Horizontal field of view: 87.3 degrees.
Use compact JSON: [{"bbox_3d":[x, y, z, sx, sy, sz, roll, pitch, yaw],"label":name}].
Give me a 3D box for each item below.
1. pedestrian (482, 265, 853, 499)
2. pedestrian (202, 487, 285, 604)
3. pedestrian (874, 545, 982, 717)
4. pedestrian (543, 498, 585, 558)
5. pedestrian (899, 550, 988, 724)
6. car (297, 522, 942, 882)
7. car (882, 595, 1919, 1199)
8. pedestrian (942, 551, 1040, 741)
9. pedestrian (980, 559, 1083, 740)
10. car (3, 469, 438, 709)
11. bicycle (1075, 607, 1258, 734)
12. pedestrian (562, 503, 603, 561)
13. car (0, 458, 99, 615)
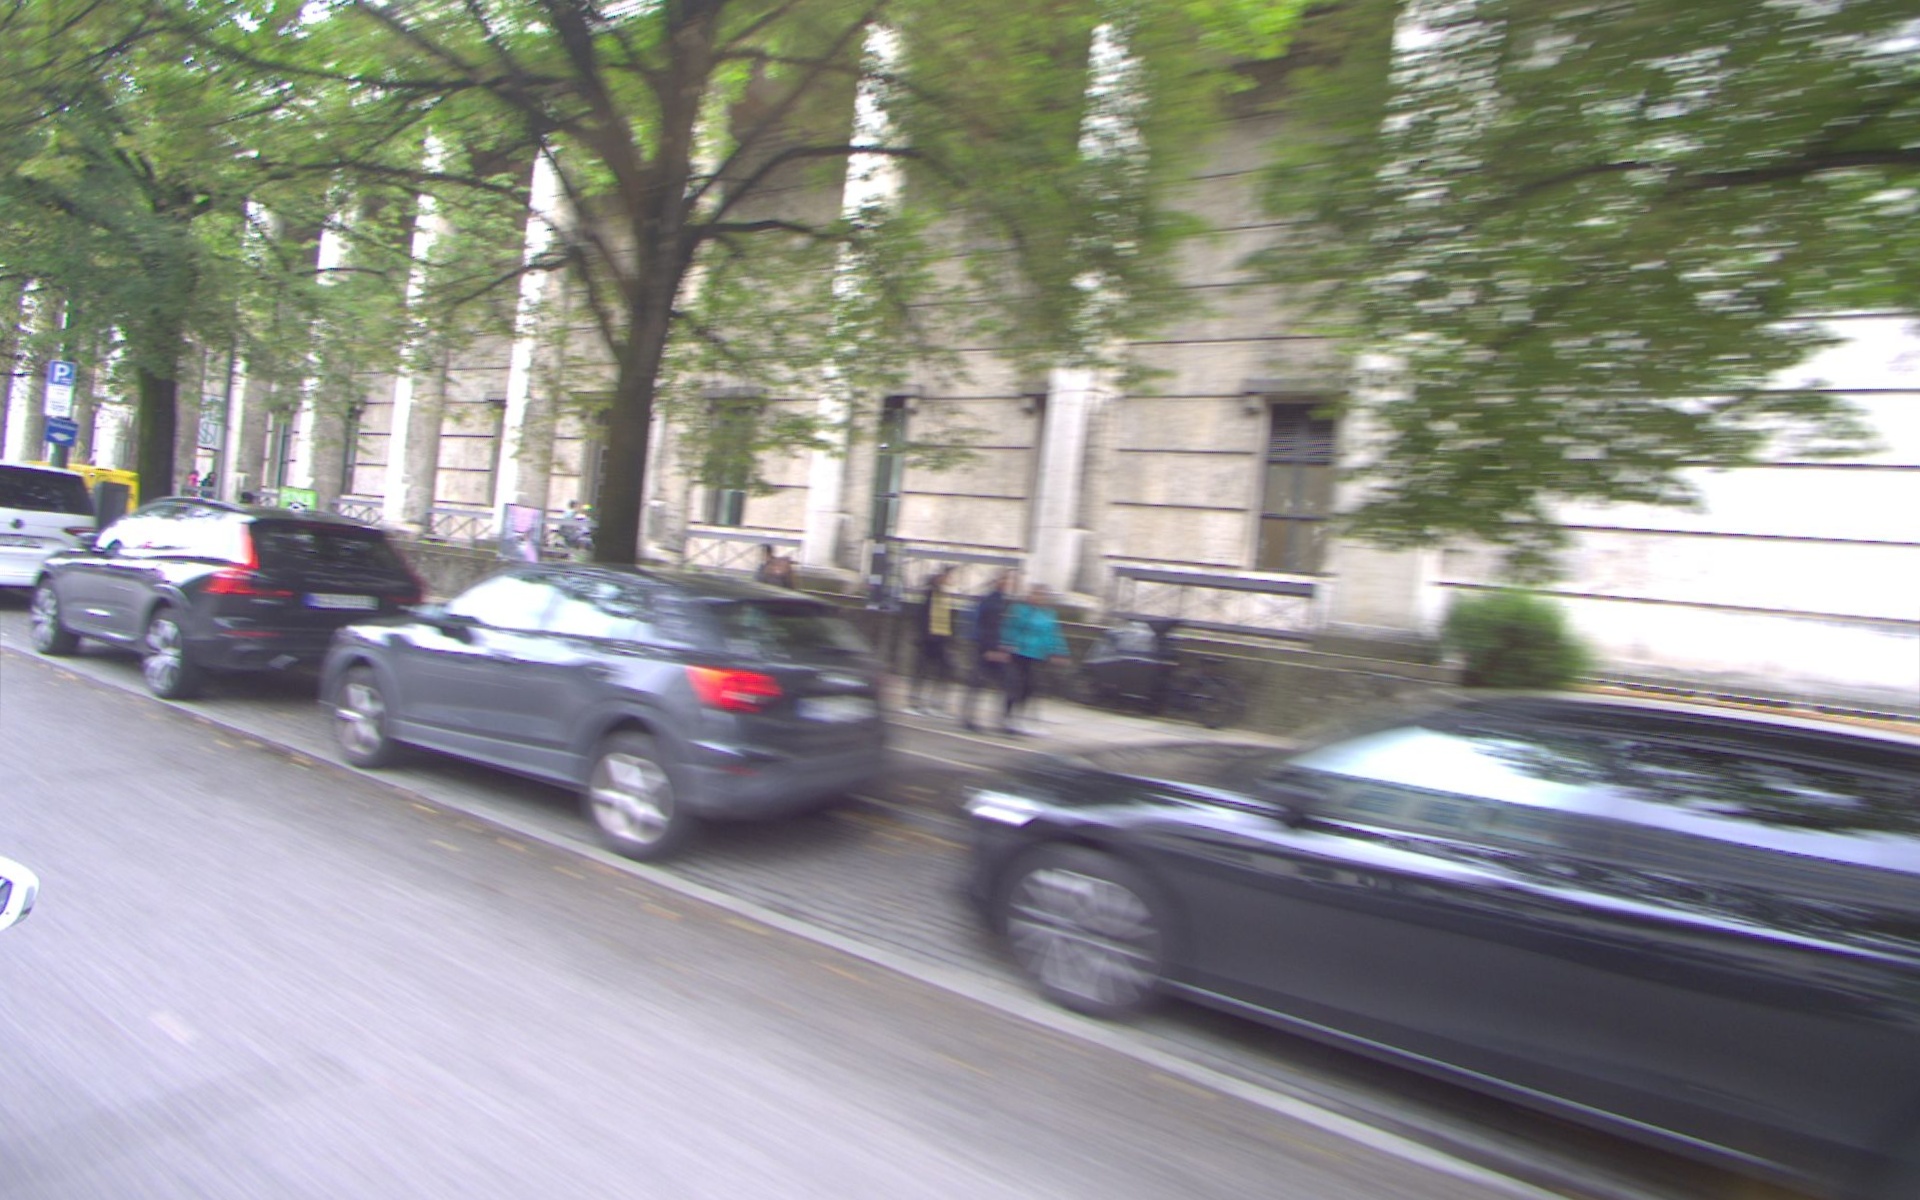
[{"bbox_3d":[-3.570,-2.502,12.144,3.934,2.037,1.997,7,-1,32],"label":"pedestrian"},{"bbox_3d":[-12.672,-0.959,17.805,0.758,1.933,0.780,7,-1,32],"label":"pedestrian"},{"bbox_3d":[-0.378,0.379,12.044,0.758,1.933,0.780,7,-1,32],"label":"pedestrian"},{"bbox_3d":[-10.063,-1.825,25.556,0.635,1.390,0.567,7,-1,32],"label":"pedestrian"},{"bbox_3d":[-0.197,0.426,11.728,0.526,1.933,0.645,8,0,-39],"label":"pedestrian"},{"bbox_3d":[-2.330,0.460,6.580,3.962,1.483,1.824,7,0,33],"label":"car"},{"bbox_3d":[2.158,1.006,3.799,4.697,1.483,1.726,7,0,33],"label":"car"},{"bbox_3d":[0.326,0.486,10.786,0.526,1.933,0.645,8,0,-39],"label":"pedestrian"},{"bbox_3d":[0.807,0.557,11.392,0.685,1.933,0.645,8,-1,-37],"label":"pedestrian"},{"bbox_3d":[-7.094,-0.183,9.501,4.514,1.686,1.726,7,0,33],"label":"car"},{"bbox_3d":[2.841,0.945,13.983,2.261,1.433,0.700,7,1,32],"label":"bicycle"},{"bbox_3d":[-9.881,-1.776,26.344,0.635,1.390,0.567,7,-1,32],"label":"pedestrian"},{"bbox_3d":[-13.525,-0.998,13.581,3.962,1.890,1.726,7,1,33],"label":"car"}]
